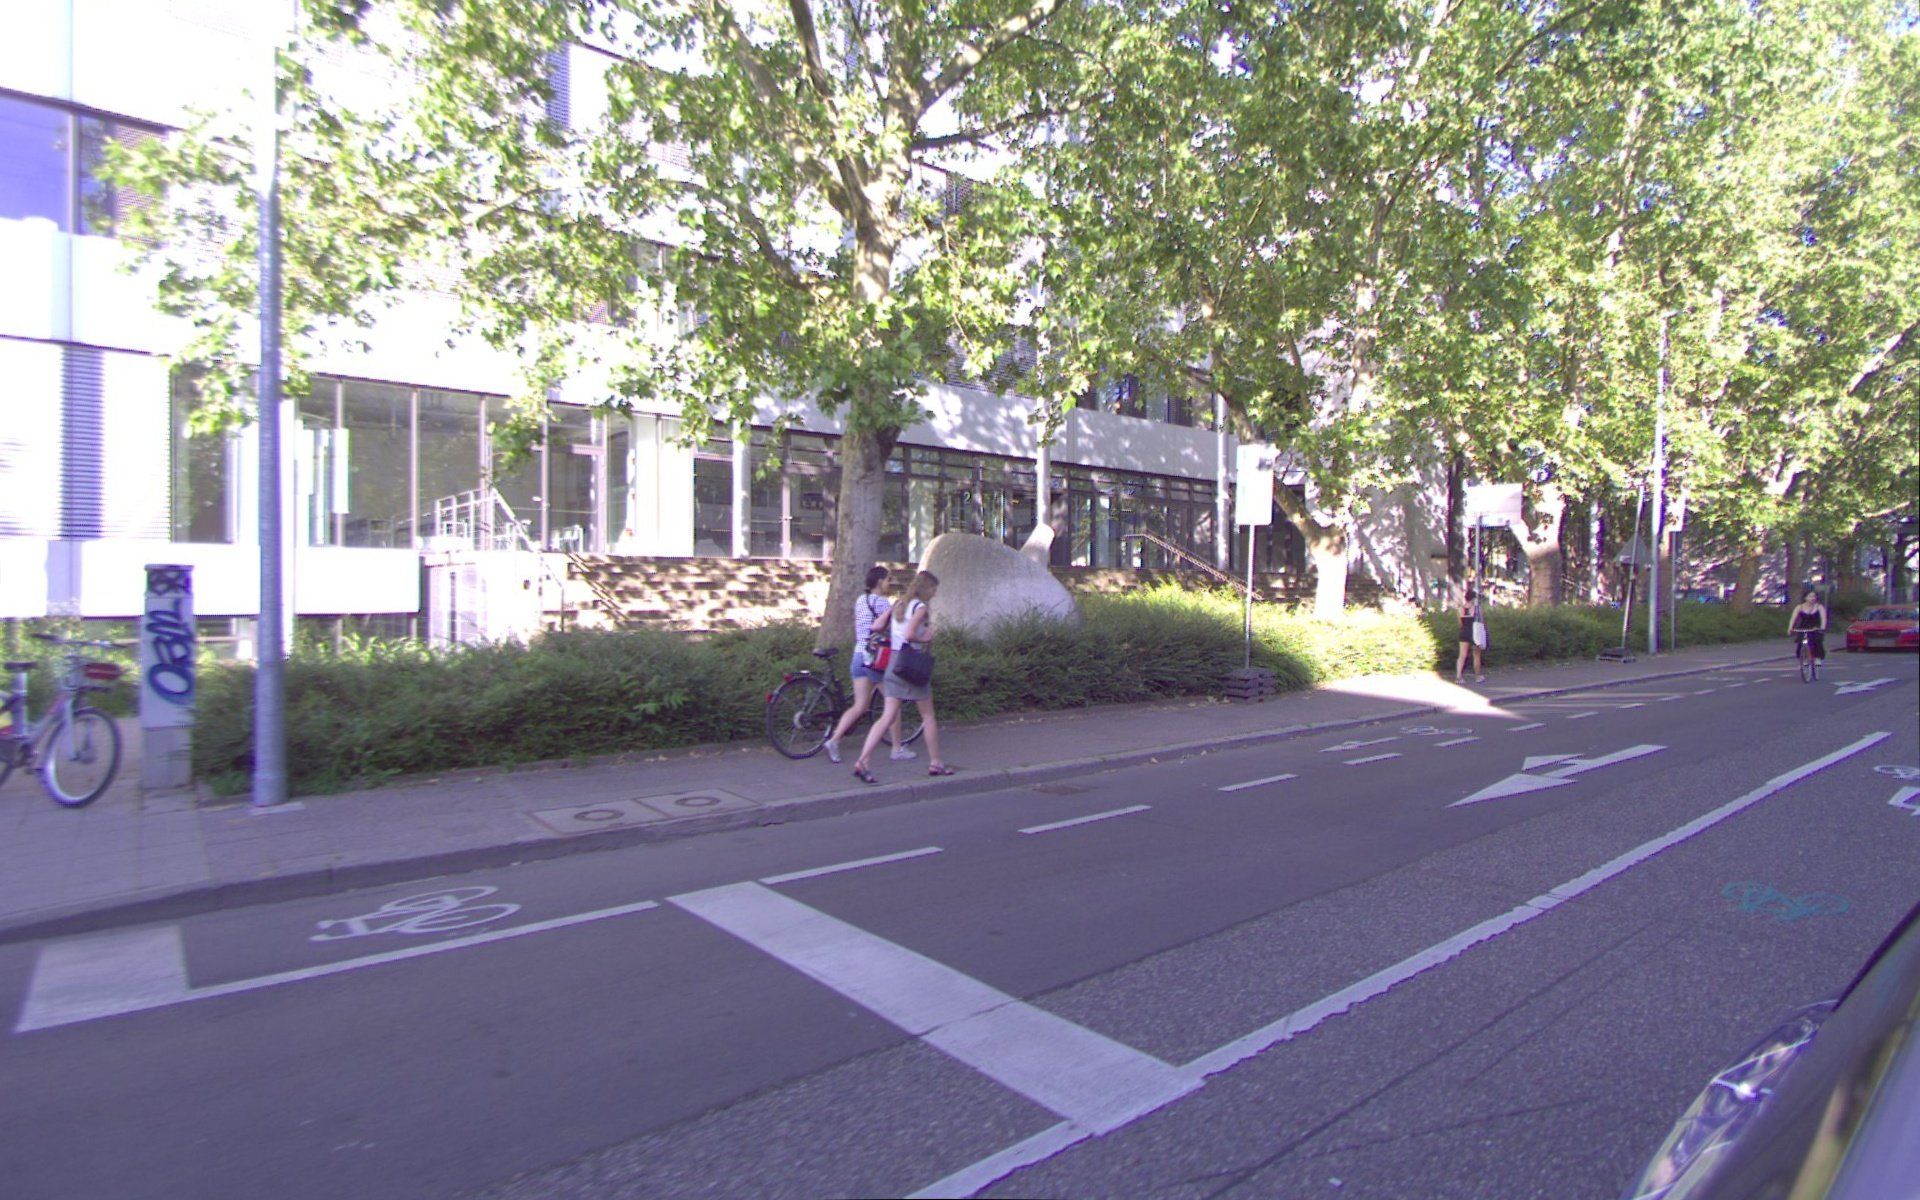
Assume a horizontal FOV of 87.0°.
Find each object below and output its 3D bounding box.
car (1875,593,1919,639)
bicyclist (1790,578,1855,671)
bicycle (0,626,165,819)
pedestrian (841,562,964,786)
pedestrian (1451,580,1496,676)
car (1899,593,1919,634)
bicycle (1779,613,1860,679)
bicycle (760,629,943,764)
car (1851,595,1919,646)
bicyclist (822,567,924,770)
[{"bbox_3d":[32.458,0.501,34.060,4.003,1.466,1.898,0,0,-39],"label":"car"},{"bbox_3d":[16.380,0.455,19.230,0.880,1.701,0.769,-1,-1,-41],"label":"bicyclist"},{"bbox_3d":[-6.456,0.802,7.074,1.969,1.197,0.467,0,1,21],"label":"bicycle"},{"bbox_3d":[-0.484,0.560,8.401,0.680,1.740,0.775,-2,2,-41],"label":"pedestrian"},{"bbox_3d":[8.841,0.469,17.430,0.671,1.614,0.462,-1,0,-41],"label":"pedestrian"},{"bbox_3d":[36.548,0.493,37.596,4.003,1.469,1.898,0,0,-39],"label":"car"},{"bbox_3d":[16.253,0.832,19.105,2.766,1.150,0.769,1,-1,-41],"label":"bicycle"},{"bbox_3d":[-0.943,0.813,9.051,1.619,1.048,0.522,-1,0,-41],"label":"bicycle"},{"bbox_3d":[28.927,0.587,31.055,4.006,1.461,1.896,0,0,-42],"label":"car"},{"bbox_3d":[-0.784,0.575,9.118,0.643,1.734,0.634,-2,2,-41],"label":"bicyclist"}]
